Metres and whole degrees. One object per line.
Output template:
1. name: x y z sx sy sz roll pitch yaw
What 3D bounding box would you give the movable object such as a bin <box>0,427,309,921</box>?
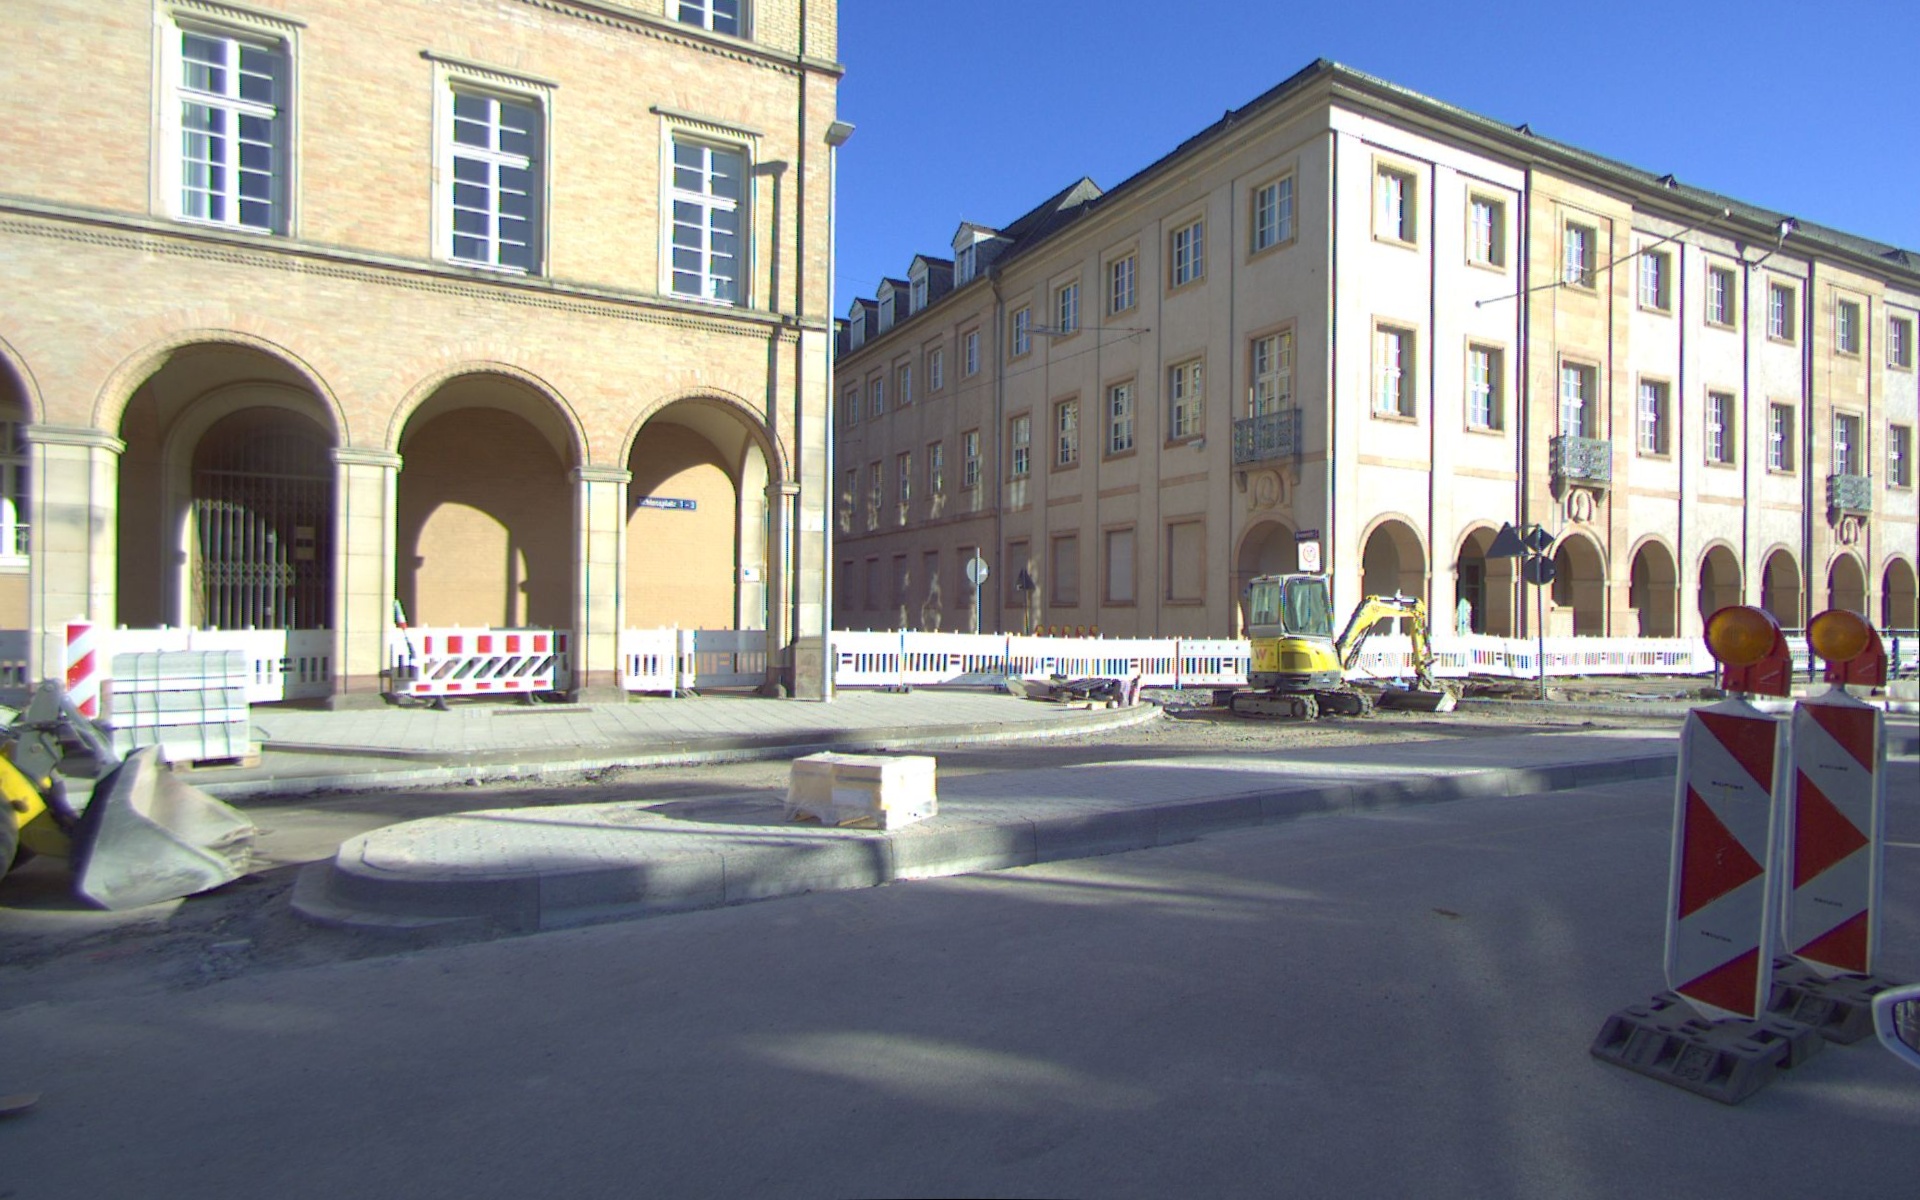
1. movable object such as a bin: -6.370 0.391 5.461 4.559 2.508 2.066 0 0 -29

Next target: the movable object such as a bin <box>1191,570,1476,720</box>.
1. movable object such as a bin: 6.717 0.768 18.123 4.401 2.380 2.538 1 -1 -26
